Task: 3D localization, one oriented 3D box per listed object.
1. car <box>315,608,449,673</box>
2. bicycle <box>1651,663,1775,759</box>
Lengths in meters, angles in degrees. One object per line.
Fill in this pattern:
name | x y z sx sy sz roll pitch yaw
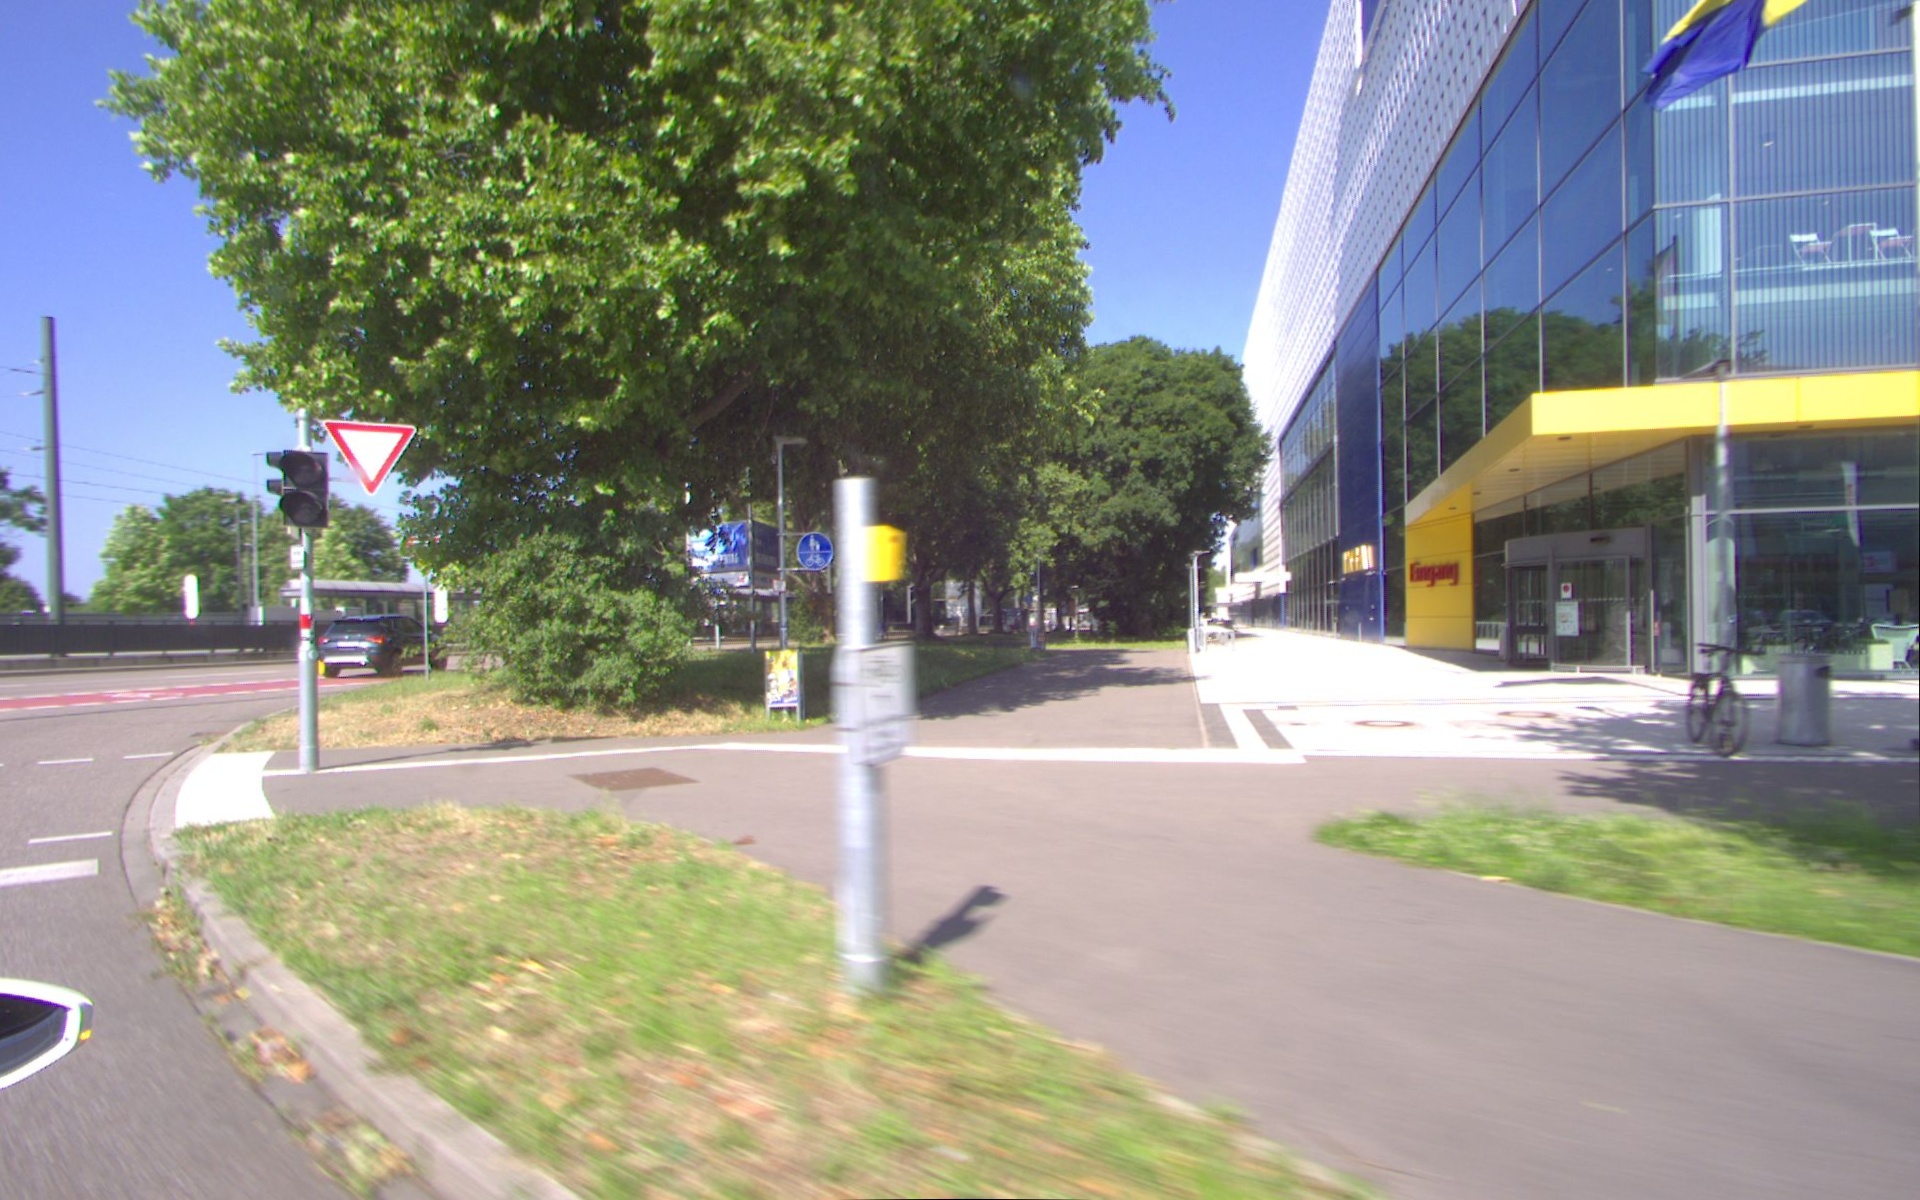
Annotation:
car | -14.683 1.015 25.649 1.643 1.543 3.377 0 -2 -4
bicycle | 8.049 1.146 10.780 0.426 0.854 1.832 0 -1 16
